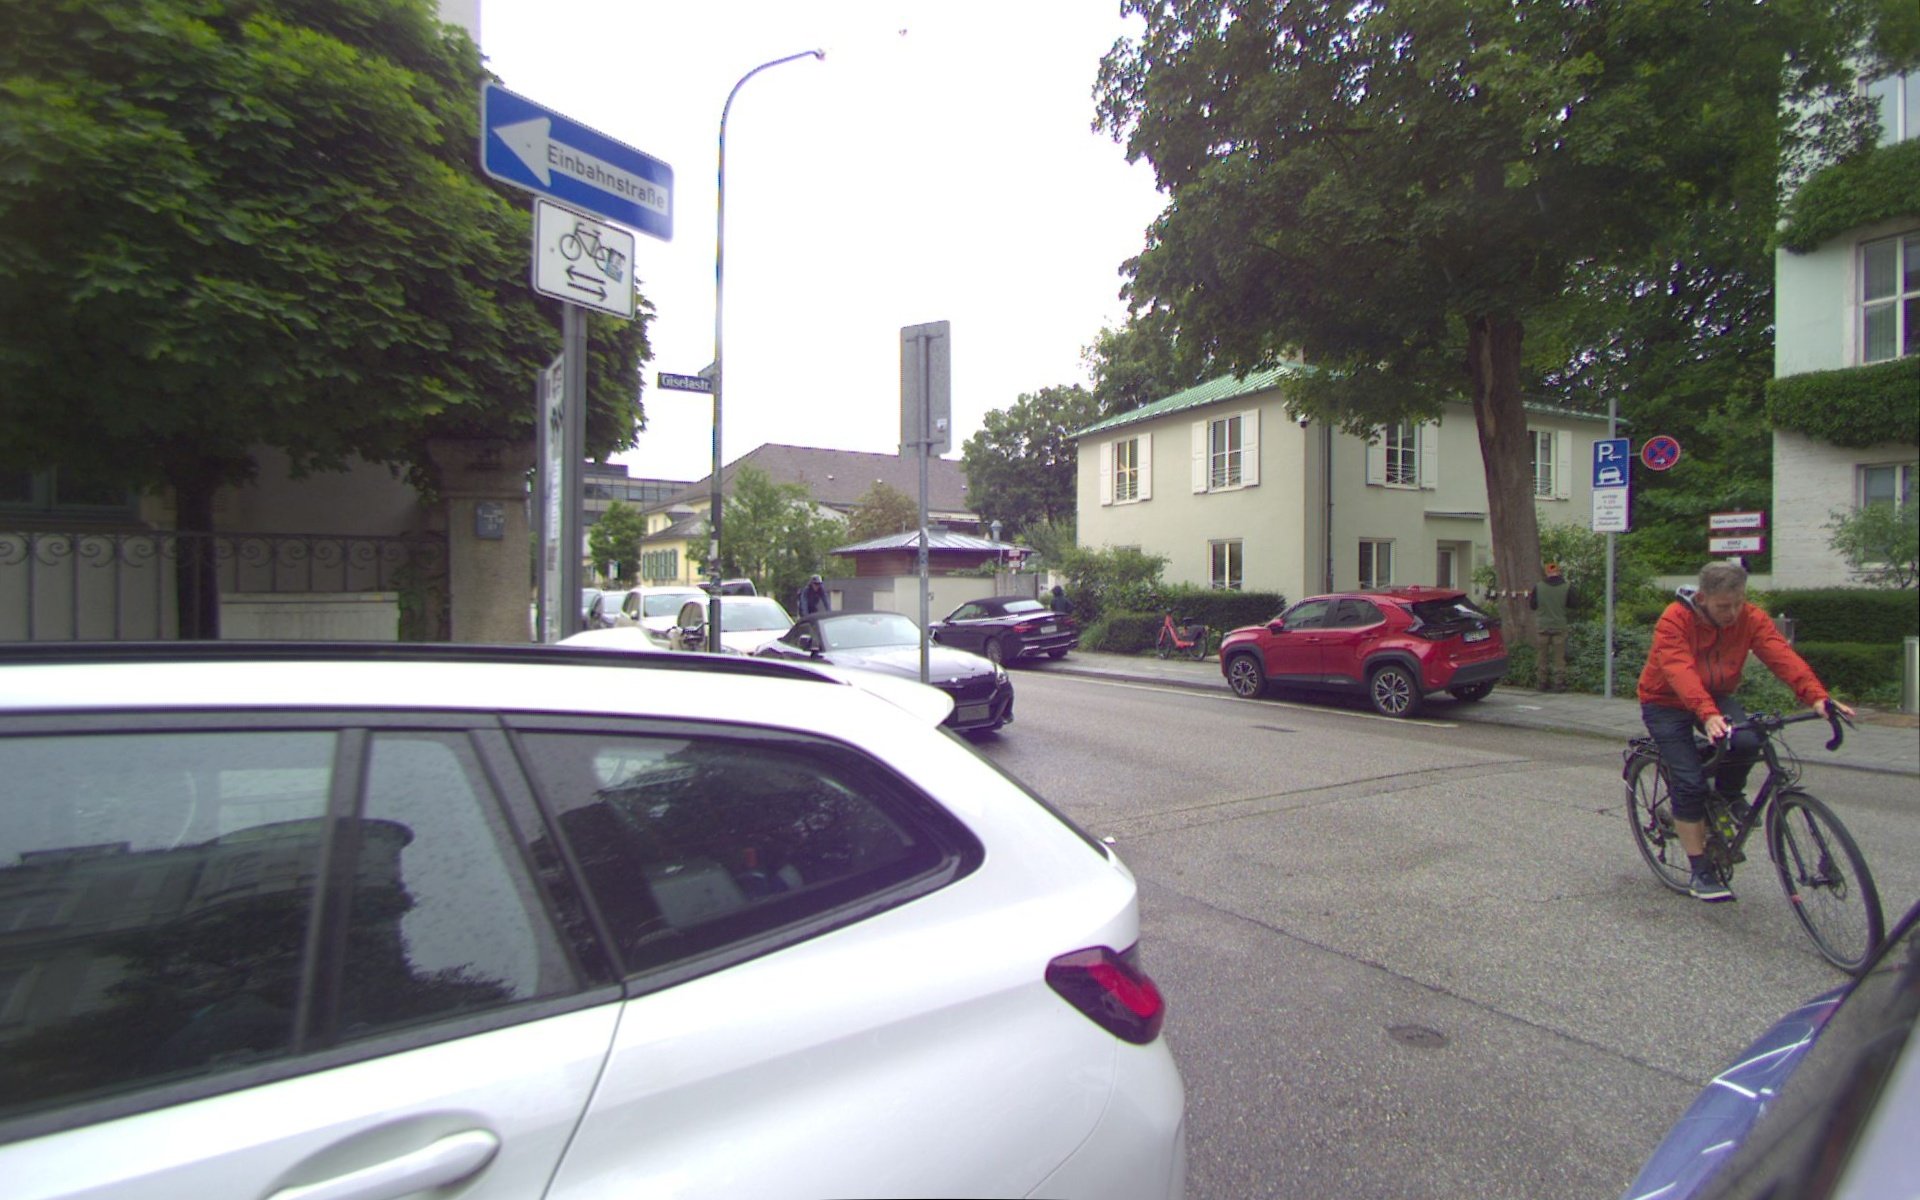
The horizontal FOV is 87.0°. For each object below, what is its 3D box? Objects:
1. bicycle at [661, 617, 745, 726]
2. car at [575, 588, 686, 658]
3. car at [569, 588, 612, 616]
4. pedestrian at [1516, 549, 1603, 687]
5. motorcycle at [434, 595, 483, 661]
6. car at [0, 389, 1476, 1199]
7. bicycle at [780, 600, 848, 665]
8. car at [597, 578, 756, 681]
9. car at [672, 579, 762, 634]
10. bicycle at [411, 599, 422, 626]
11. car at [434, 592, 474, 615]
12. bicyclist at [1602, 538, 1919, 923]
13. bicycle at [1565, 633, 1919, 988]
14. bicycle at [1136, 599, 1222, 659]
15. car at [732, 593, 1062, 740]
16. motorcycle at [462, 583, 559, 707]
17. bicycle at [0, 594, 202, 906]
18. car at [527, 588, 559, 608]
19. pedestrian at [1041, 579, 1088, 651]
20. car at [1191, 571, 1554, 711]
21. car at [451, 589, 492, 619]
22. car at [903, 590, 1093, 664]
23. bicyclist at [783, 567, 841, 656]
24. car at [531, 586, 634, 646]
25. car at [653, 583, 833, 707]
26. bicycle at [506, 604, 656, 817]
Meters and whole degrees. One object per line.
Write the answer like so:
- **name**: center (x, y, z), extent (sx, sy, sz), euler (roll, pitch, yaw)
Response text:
- **bicycle**: center (-2.918, 0.745, 11.368), extent (0.651, 1.077, 1.942), euler (0, 0, -22)
- **car**: center (-8.122, 0.499, 24.706), extent (1.807, 1.551, 4.421), euler (1, 0, -28)
- **car**: center (-24.025, 0.109, 65.763), extent (1.870, 1.713, 4.813), euler (-2, 1, -29)
- **pedestrian**: center (8.428, 0.229, 14.237), extent (0.700, 1.875, 0.798), euler (-2, 1, -29)
- **motorcycle**: center (-10.338, 0.548, 20.837), extent (0.720, 1.254, 2.009), euler (-2, 1, -31)
- **car**: center (-1.705, 0.641, 1.331), extent (4.823, 1.551, 1.914), euler (0, -2, -30)
- **bicycle**: center (-2.918, 0.626, 20.083), extent (0.706, 1.221, 1.803), euler (-2, 0, -30)
- **car**: center (-5.717, 0.482, 19.967), extent (1.960, 1.728, 4.539), euler (-2, 1, -29)
- **car**: center (-9.832, 0.203, 40.608), extent (1.935, 2.015, 5.154), euler (-2, 1, -32)
- **bicycle**: center (-23.421, 0.536, 43.635), extent (0.336, 1.150, 1.760), euler (0, 0, -31)
- **car**: center (-34.560, 0.219, 69.060), extent (1.961, 1.478, 4.959), euler (-2, 1, -33)
- **bicyclist**: center (3.477, 0.499, 4.505), extent (0.745, 1.501, 0.977), euler (-1, 1, 14)
- **bicycle**: center (3.520, 0.792, 4.656), extent (0.664, 1.155, 2.003), euler (-1, 1, 13)
- **bicycle**: center (4.421, 0.566, 20.581), extent (0.638, 1.145, 2.051), euler (0, 0, -23)
- **car**: center (-0.974, 0.625, 11.723), extent (1.966, 1.336, 4.600), euler (2, -1, -30)
- **motorcycle**: center (-5.920, 0.514, 13.226), extent (0.843, 1.451, 2.709), euler (0, 0, -31)
- **bicycle**: center (-4.390, 0.637, 4.251), extent (1.882, 1.292, 0.468), euler (-1, -1, -33)
- **car**: center (-33.350, -0.211, 80.863), extent (1.696, 1.510, 4.465), euler (-2, 1, -31)
- **pedestrian**: center (2.358, 0.324, 22.857), extent (0.702, 1.567, 0.753), euler (-2, 1, -33)
- **car**: center (5.527, 0.447, 14.206), extent (1.856, 1.610, 4.532), euler (-2, 1, -30)
- **car**: center (-29.482, 0.217, 60.973), extent (1.960, 1.651, 5.106), euler (-2, 1, -28)
- **car**: center (0.701, 0.523, 22.672), extent (1.778, 1.419, 4.927), euler (-2, 1, -32)
- **bicyclist**: center (-2.947, 0.221, 20.106), extent (0.765, 1.688, 1.035), euler (-2, 0, -29)
- **car**: center (-11.012, 0.422, 29.324), extent (1.829, 1.597, 4.902), euler (1, 0, -32)
- **car**: center (-3.521, 0.600, 15.892), extent (1.741, 1.564, 3.716), euler (-5, 3, -27)
- **bicycle**: center (-2.655, 0.668, 6.974), extent (0.533, 1.241, 1.777), euler (1, 1, -35)
